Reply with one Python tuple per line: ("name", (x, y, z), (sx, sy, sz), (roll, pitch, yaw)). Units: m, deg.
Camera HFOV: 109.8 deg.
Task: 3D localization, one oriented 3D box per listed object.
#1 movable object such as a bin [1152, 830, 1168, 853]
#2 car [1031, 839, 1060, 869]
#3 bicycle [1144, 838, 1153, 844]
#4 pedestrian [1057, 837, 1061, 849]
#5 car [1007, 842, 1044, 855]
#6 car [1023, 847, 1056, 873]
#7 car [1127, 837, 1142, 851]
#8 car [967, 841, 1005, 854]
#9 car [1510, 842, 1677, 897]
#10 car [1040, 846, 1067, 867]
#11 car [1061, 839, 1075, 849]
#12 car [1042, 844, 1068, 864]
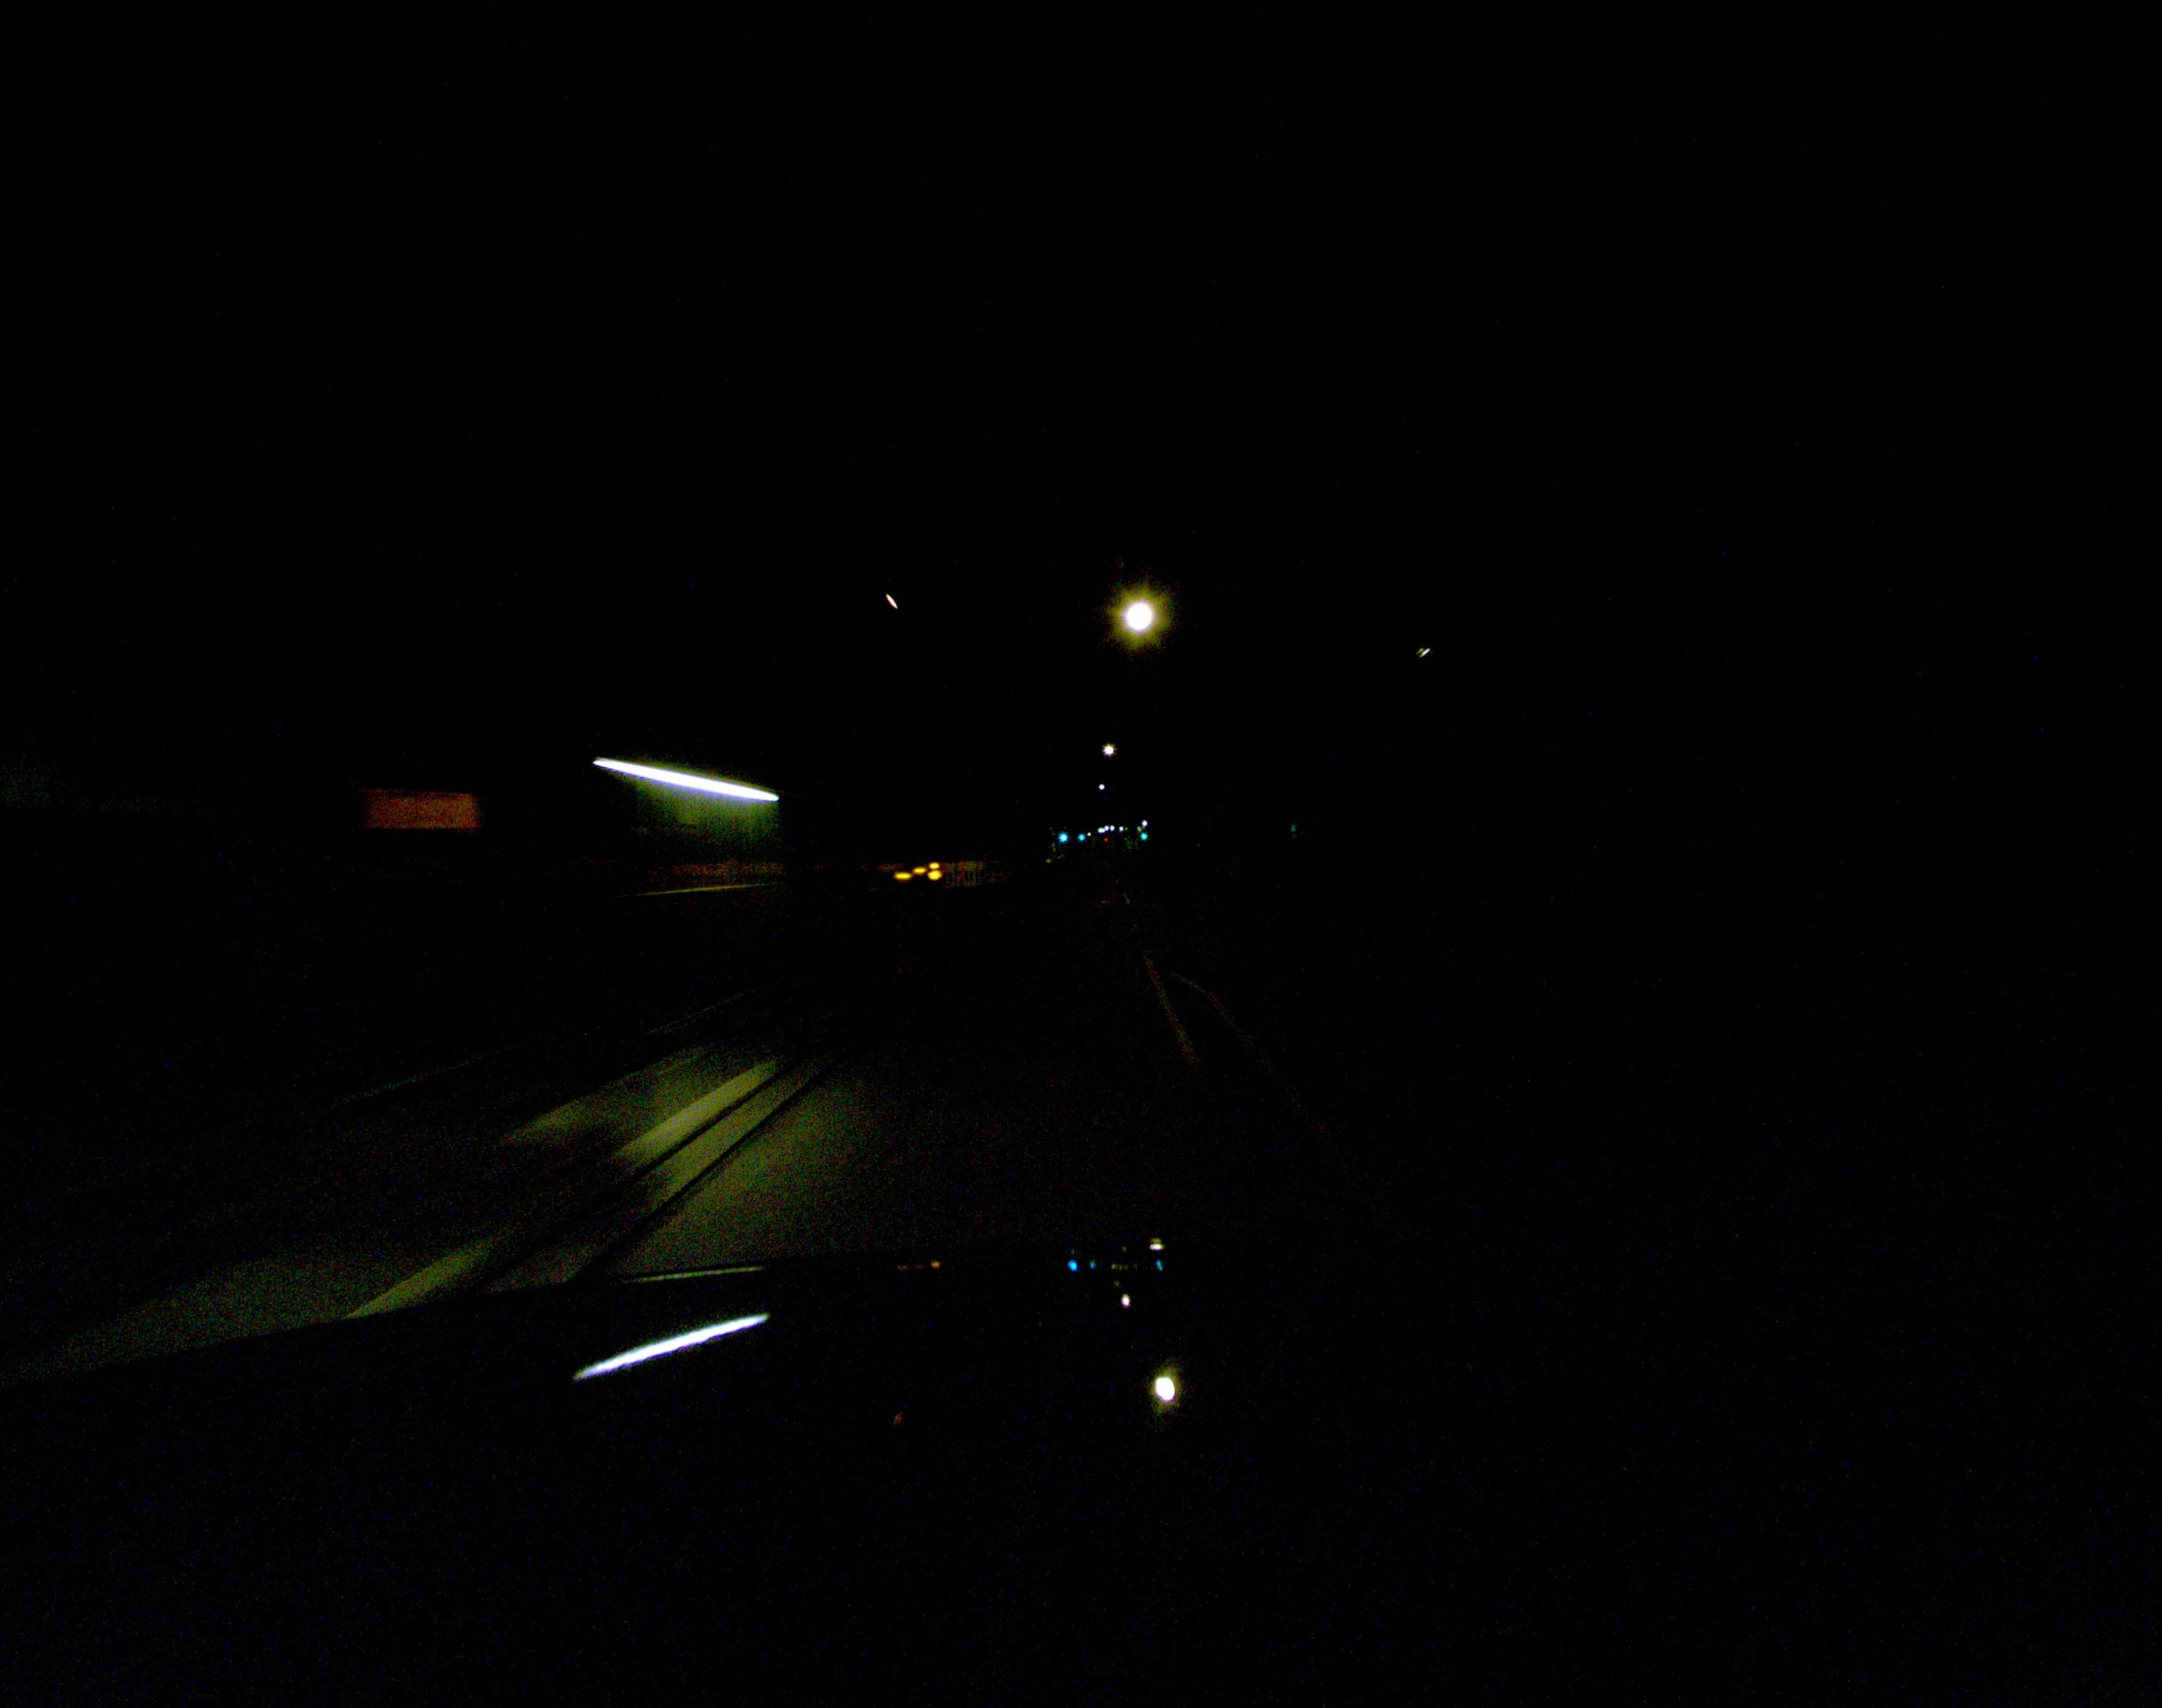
("movable object such as a bin", (9.102, -1.435, 88.028), (1.575, 2.612, 3.909), (0, 2, 2))
("car", (-2.284, -0.046, 49.920), (1.740, 1.844, 4.315), (0, 1, 0))
("bicycle", (13.699, -2.595, 154.912), (1.772, 1.145, 0.583), (1, 3, 43))
("pedestrian", (-3.101, -1.587, 109.201), (0.508, 1.699, 0.705), (0, 2, 2))
("car", (-6.372, -0.681, 87.529), (4.024, 1.414, 1.851), (0, 3, 0))
("car", (-2.406, 0.324, 44.802), (1.732, 1.411, 4.322), (-1, 1, -1))
("car", (7.628, -1.441, 109.006), (1.887, 1.833, 4.813), (-1, 1, 0))
("car", (-11.087, -0.783, 88.576), (4.202, 1.459, 1.851), (0, 2, -2))
("car", (15.378, 0.429, 22.946), (3.758, 1.547, 1.872), (-1, 1, 2))
("car", (-1.952, 0.146, 55.116), (1.690, 1.413, 4.442), (0, 1, 1))
("car", (-1.810, -1.449, 107.781), (1.740, 1.446, 4.000), (0, 2, 3))
("car", (-2.052, -0.044, 60.523), (1.744, 1.469, 3.999), (2, 1, 2))
